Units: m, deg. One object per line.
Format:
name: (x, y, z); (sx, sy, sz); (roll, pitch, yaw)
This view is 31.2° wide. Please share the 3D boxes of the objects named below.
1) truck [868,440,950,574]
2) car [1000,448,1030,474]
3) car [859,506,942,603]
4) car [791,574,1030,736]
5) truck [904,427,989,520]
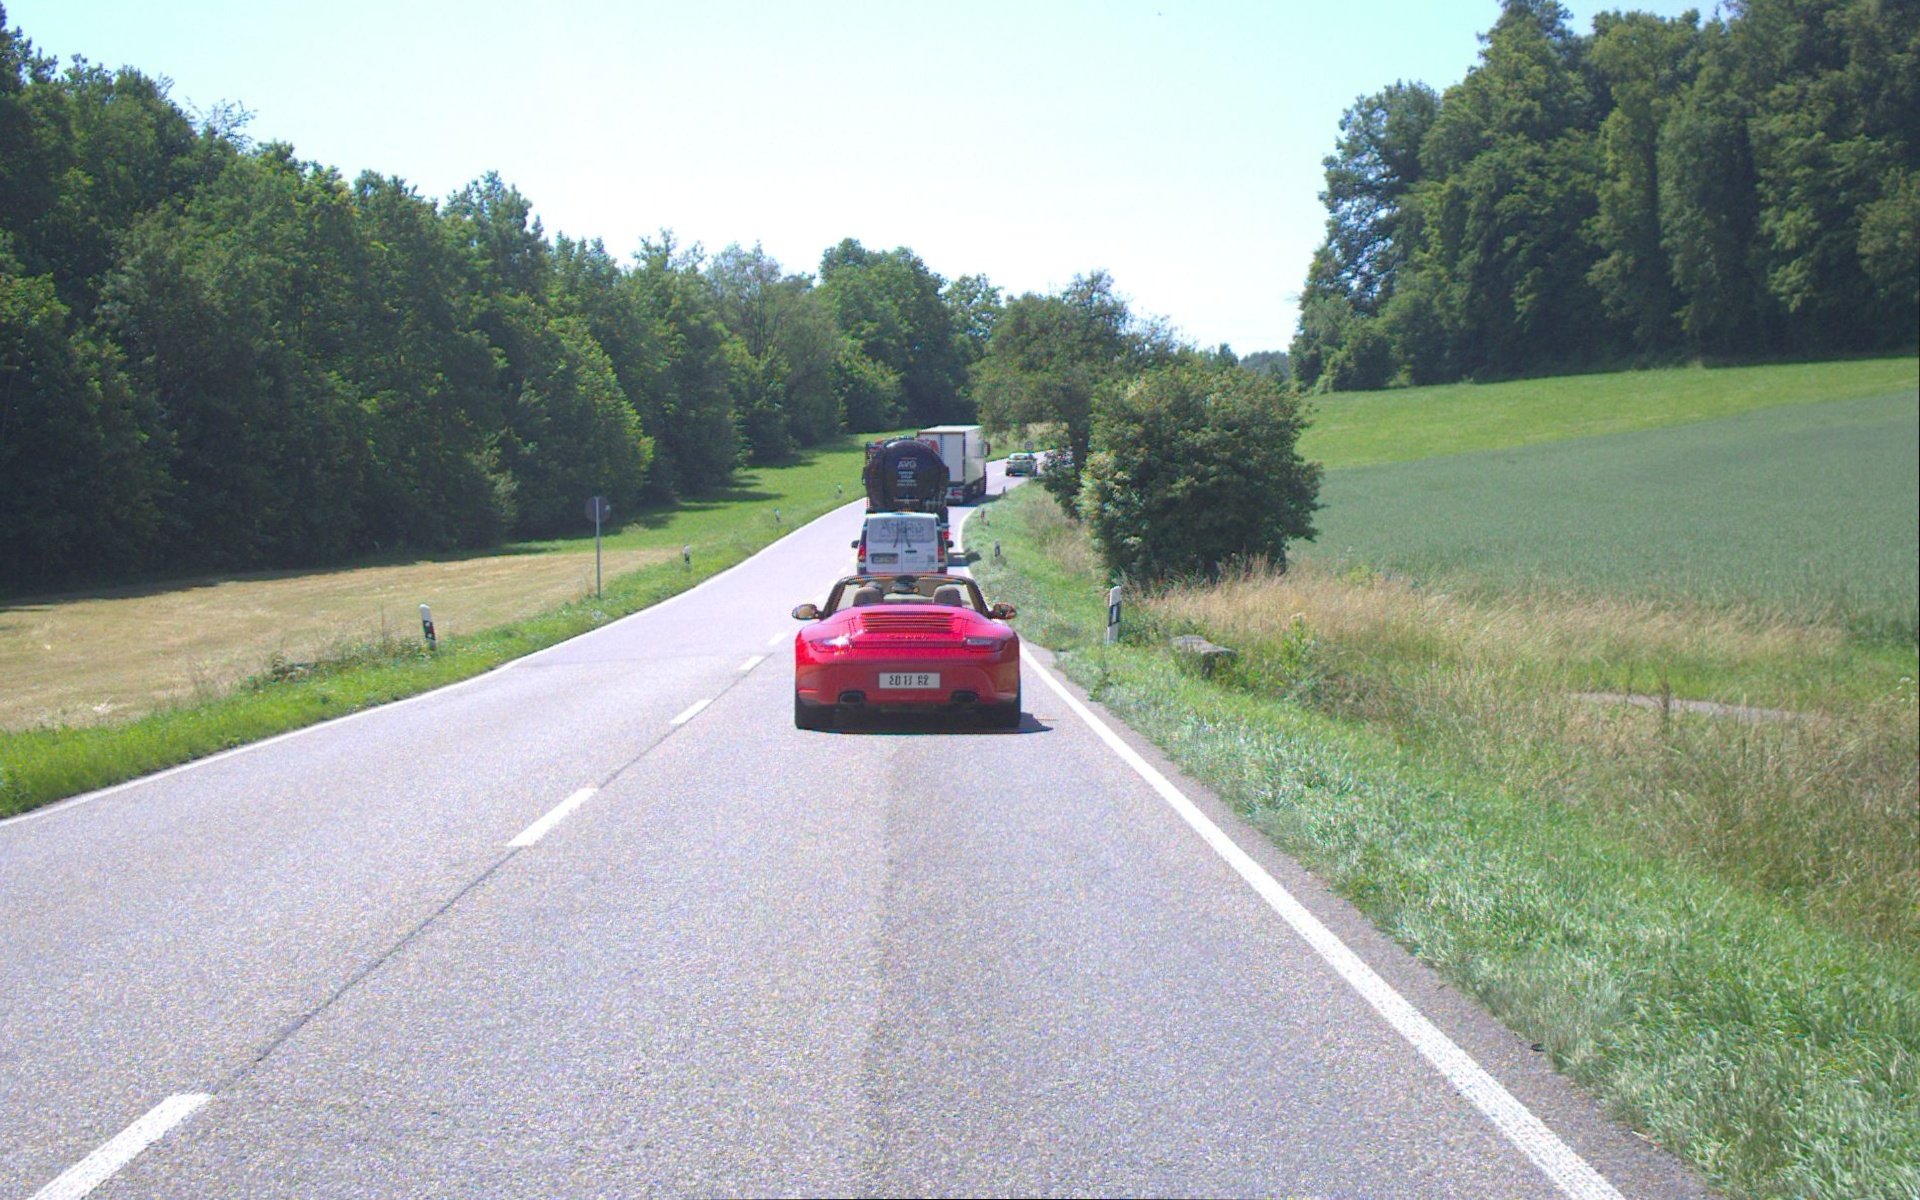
truck: (-1.703, -2.943, 110.041); (2.404, 4.036, 12.551); (1, 1, -1)
car: (3.633, -9.210, 227.532); (1.698, 1.491, 3.712); (-4, 4, 4)
car: (-1.256, -0.995, 73.265); (1.678, 1.894, 4.010); (-1, 3, -1)
car: (-0.417, 0.421, 29.245); (1.882, 1.251, 4.010); (0, 1, -1)
truck: (-0.658, -7.101, 190.845); (3.726, 4.643, 12.032); (-1, 4, 4)
